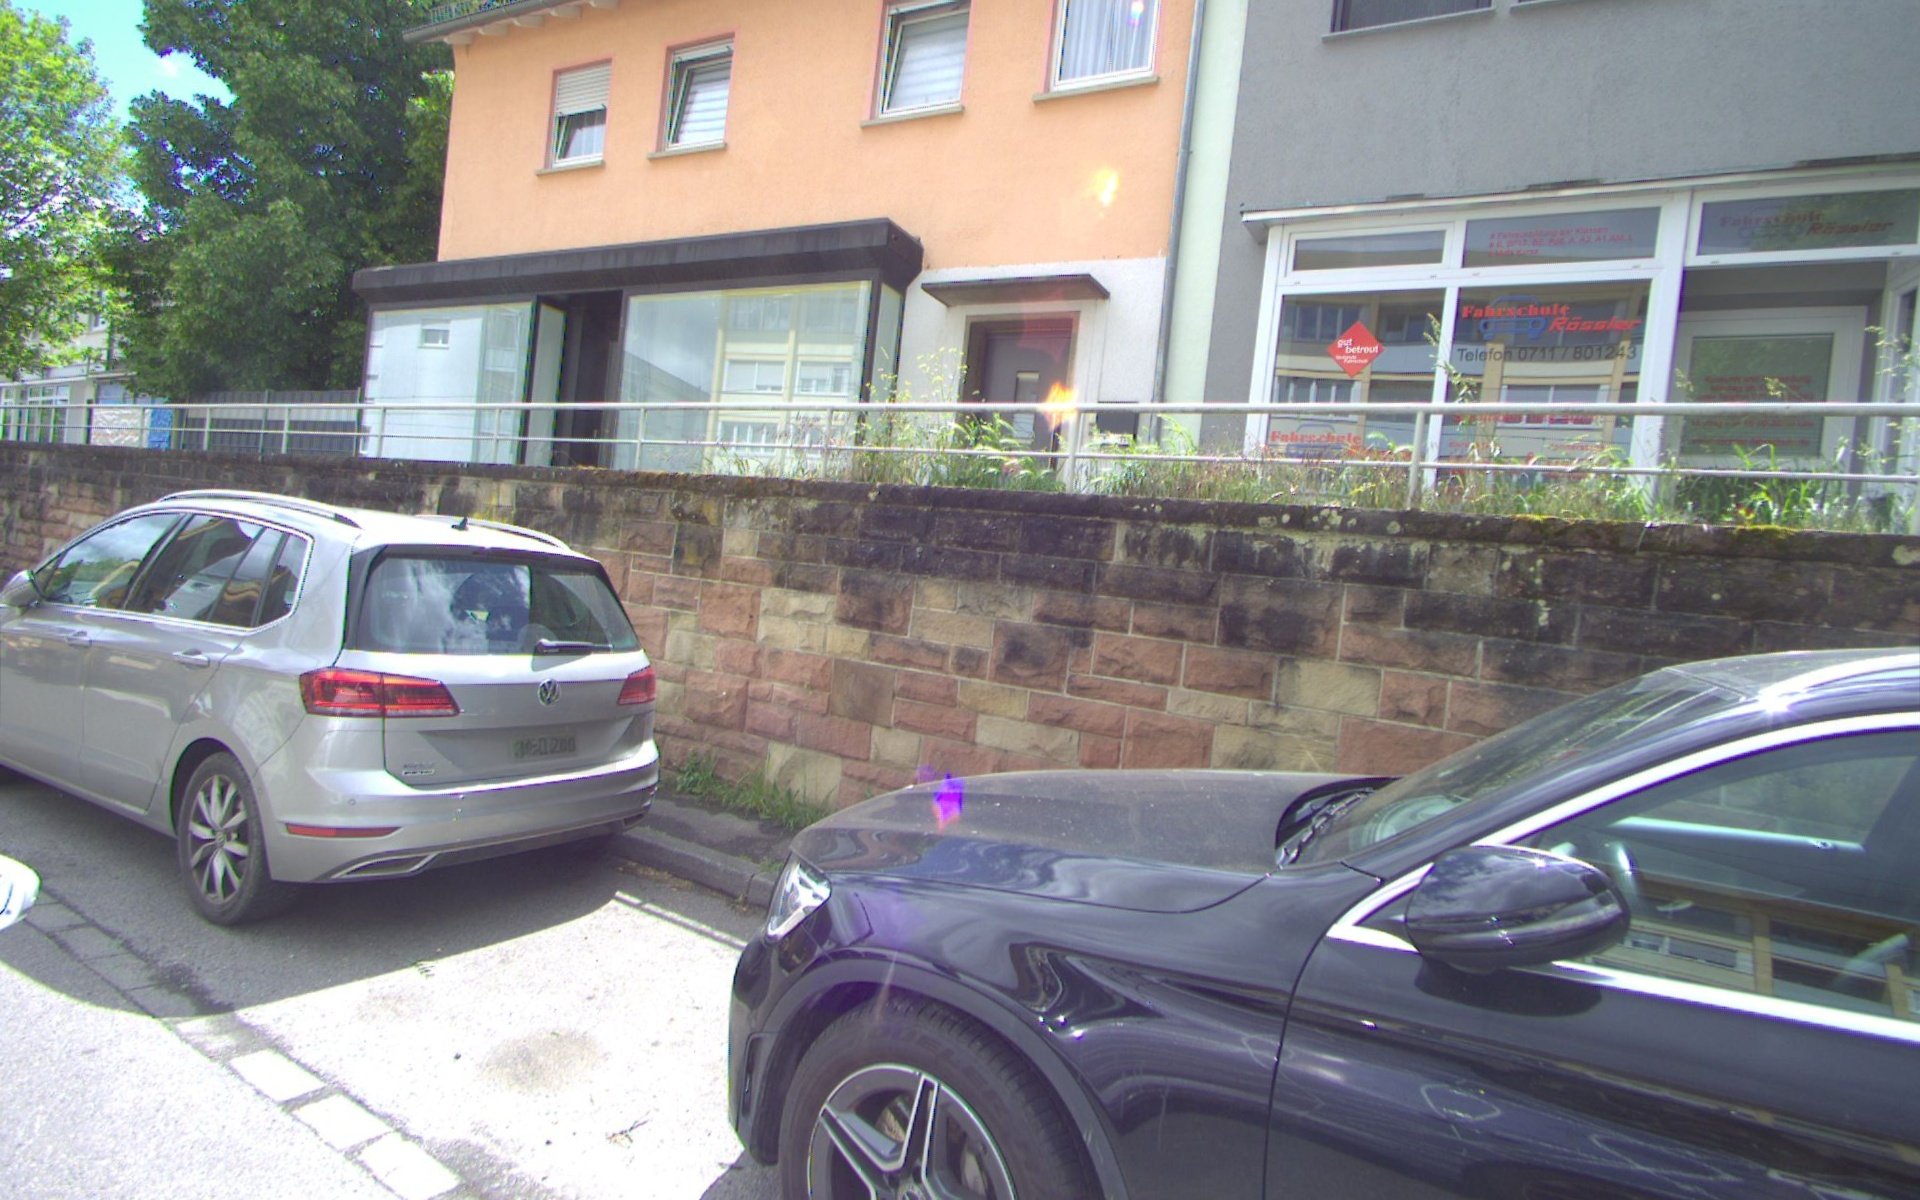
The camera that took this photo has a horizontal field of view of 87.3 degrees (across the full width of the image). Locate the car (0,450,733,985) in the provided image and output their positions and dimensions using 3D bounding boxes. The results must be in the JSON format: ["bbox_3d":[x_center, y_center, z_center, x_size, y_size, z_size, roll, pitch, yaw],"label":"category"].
[{"bbox_3d":[-3.374,0.248,5.033,4.177,1.638,1.791,7,1,31],"label":"car"}]

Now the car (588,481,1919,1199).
[{"bbox_3d":[1.551,0.810,1.879,4.373,1.639,1.791,7,2,31],"label":"car"}]
